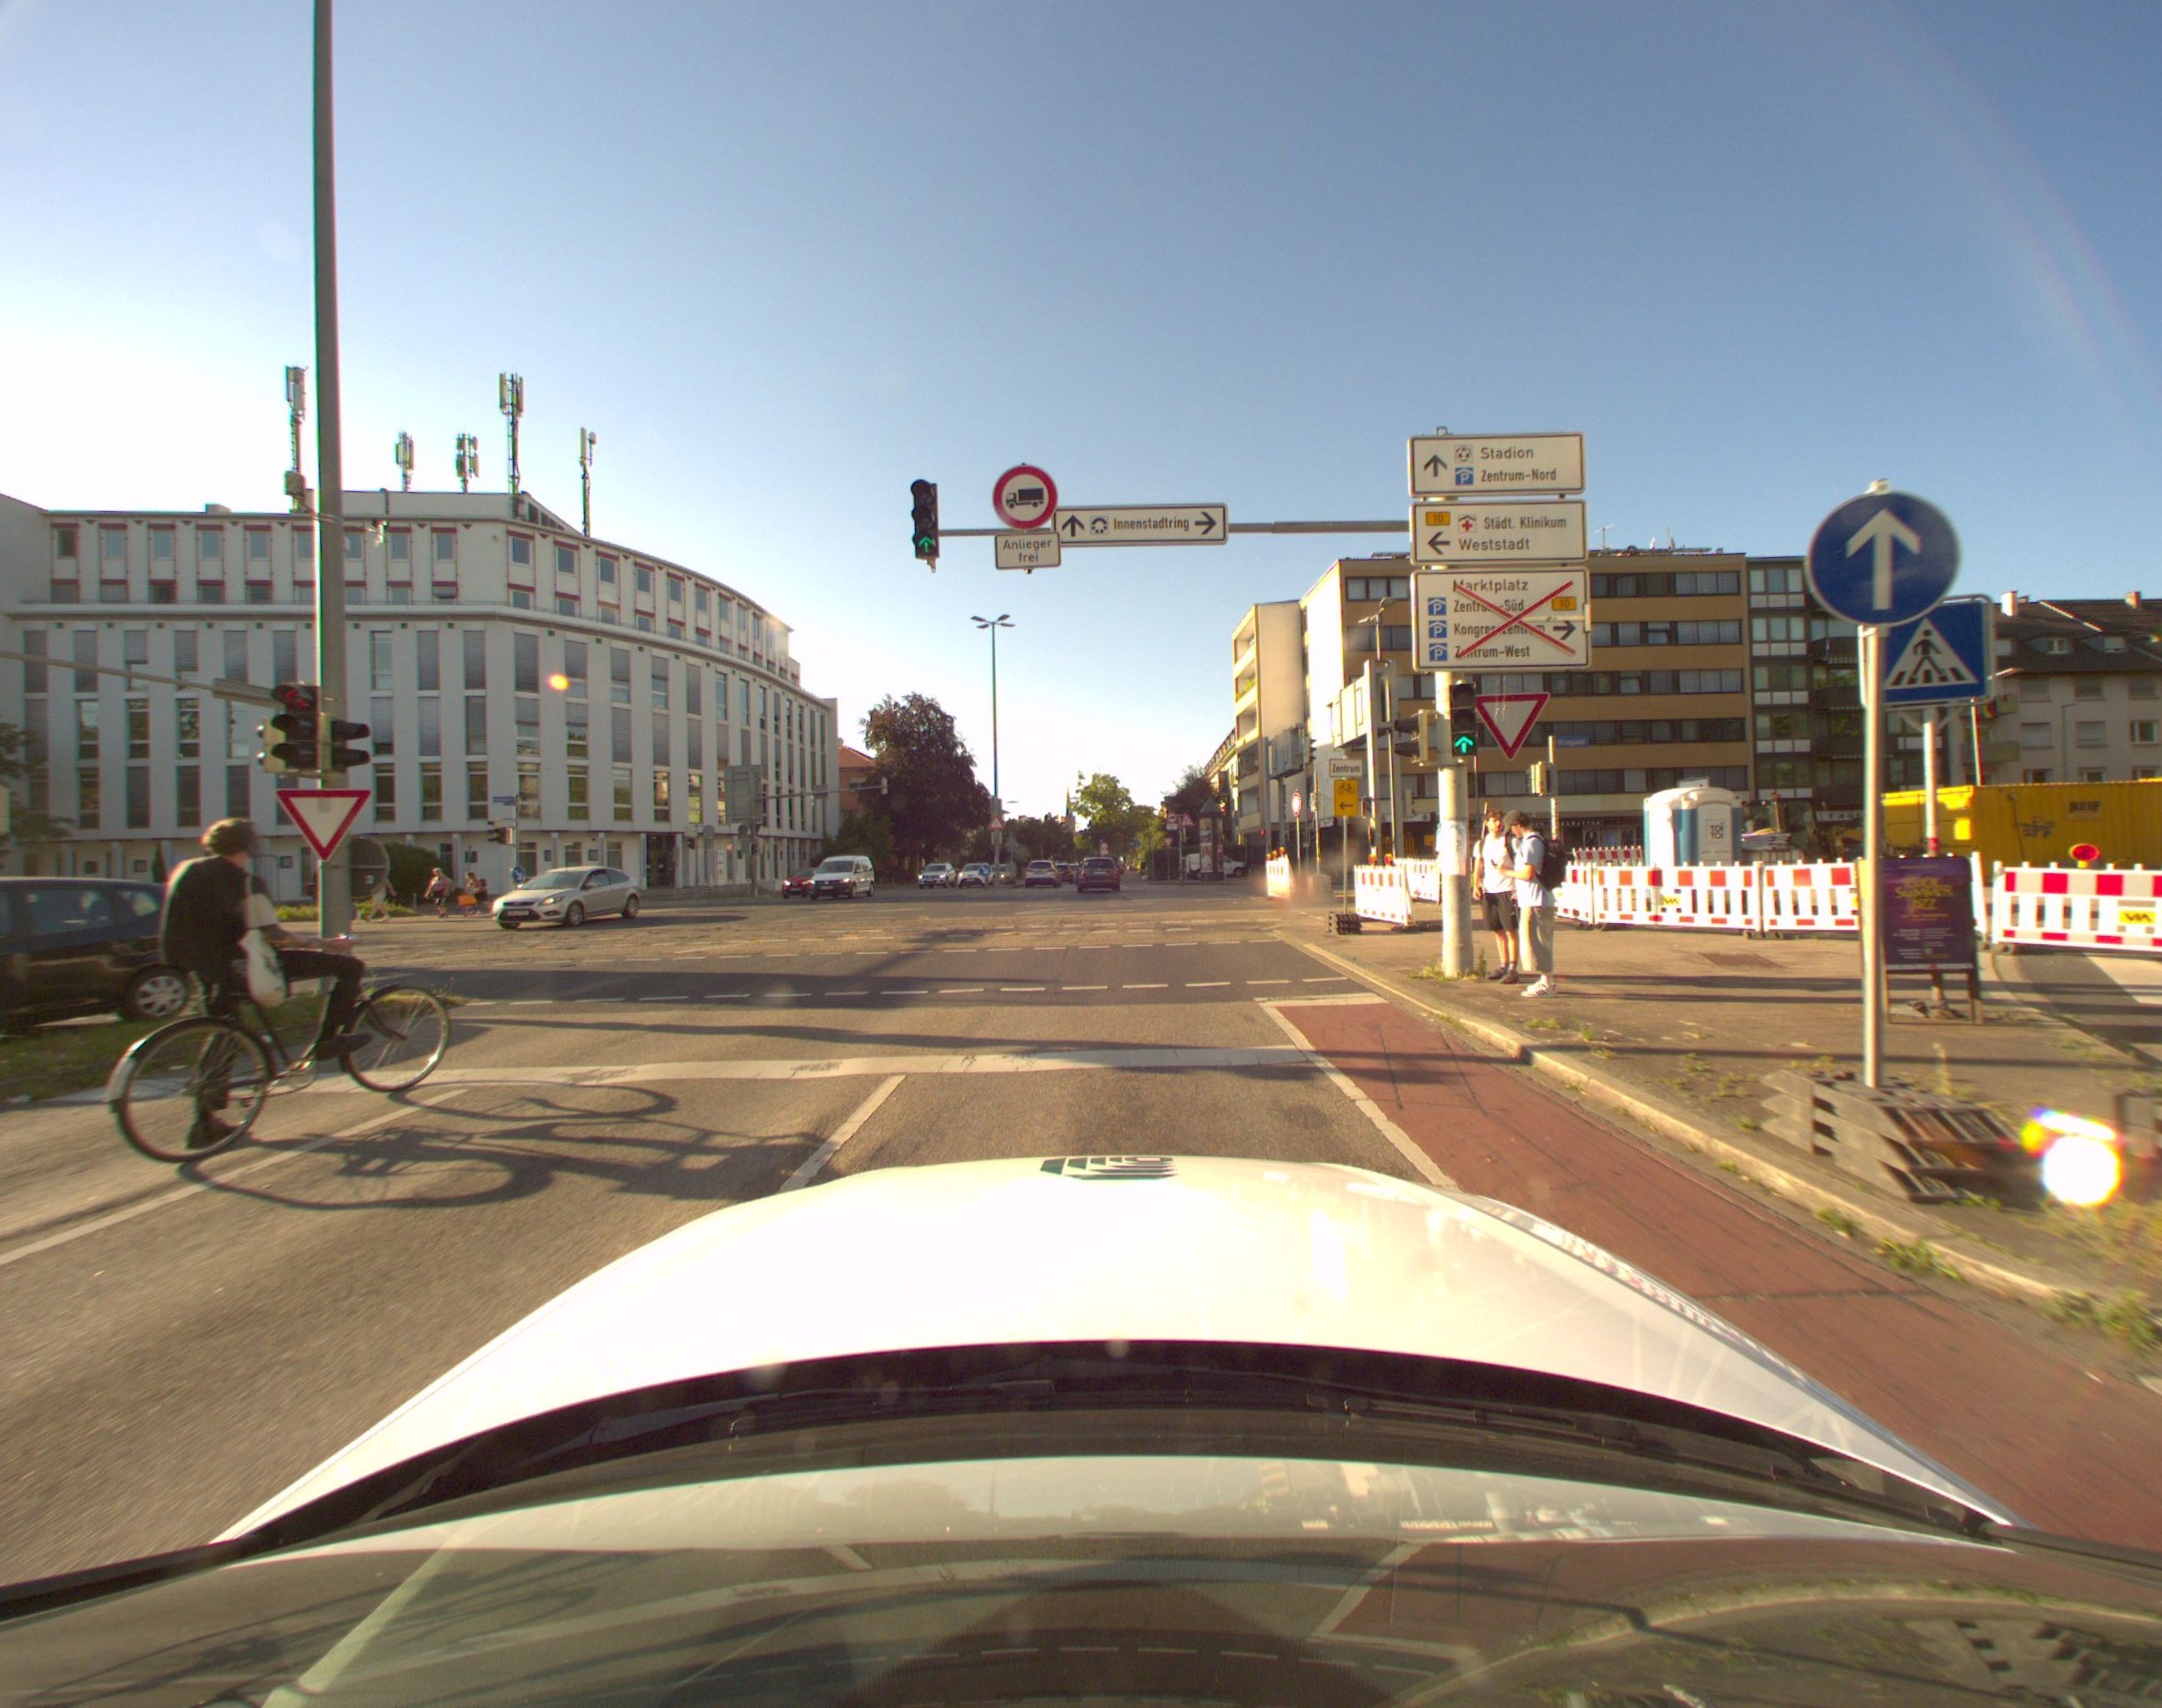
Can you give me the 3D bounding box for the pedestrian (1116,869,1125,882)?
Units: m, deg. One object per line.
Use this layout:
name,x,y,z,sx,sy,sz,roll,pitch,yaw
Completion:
pedestrian,6.258,3.380,128.473,1.205,2.014,1.422,-2,-1,0

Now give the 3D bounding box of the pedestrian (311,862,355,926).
pedestrian,-22.386,1.190,24.375,0.653,1.859,0.783,-2,-1,30

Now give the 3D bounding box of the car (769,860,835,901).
car,-13.383,1.218,39.305,1.743,1.811,4.048,-2,0,-1

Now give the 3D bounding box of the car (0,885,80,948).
car,-28.345,1.663,20.530,3.798,1.530,1.862,-3,-2,-2

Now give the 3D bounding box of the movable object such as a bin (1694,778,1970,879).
movable object such as a bin,20.660,-0.657,22.624,5.334,2.490,2.547,-2,-1,-1

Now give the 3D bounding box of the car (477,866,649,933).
car,-13.415,1.114,21.439,1.652,1.494,4.347,-2,0,1

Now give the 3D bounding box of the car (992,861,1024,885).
car,-4.997,1.282,56.039,1.842,1.461,4.048,-2,0,-1

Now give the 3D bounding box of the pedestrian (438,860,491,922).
pedestrian,-19.317,1.136,25.541,0.620,1.868,1.134,-2,-1,30

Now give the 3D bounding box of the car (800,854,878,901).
car,-10.105,0.944,34.386,1.909,1.811,4.715,-2,0,-1

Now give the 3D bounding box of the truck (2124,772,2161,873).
truck,34.948,-1.018,23.063,7.310,2.898,2.807,-2,0,-1

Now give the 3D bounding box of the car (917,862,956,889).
car,-9.406,1.358,53.304,1.875,1.654,4.048,-2,0,-1

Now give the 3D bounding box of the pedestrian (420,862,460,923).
pedestrian,-20.191,1.214,25.661,0.653,1.868,0.783,-2,-1,30

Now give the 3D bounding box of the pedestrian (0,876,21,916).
pedestrian,-49.278,1.929,37.128,0.913,1.792,0.671,-2,-1,-16

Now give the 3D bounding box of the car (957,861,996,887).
car,-6.344,1.197,49.893,1.842,1.461,4.048,-2,0,-1

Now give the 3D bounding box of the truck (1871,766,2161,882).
truck,27.130,-0.819,22.834,7.312,2.898,2.806,-2,0,-2

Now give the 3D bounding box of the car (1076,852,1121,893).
car,0.784,0.734,34.124,1.741,1.564,4.052,-2,0,2

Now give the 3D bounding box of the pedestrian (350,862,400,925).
pedestrian,-21.303,1.184,24.585,0.753,1.842,0.822,-2,-1,15

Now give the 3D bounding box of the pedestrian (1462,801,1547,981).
pedestrian,4.577,0.385,8.833,0.519,1.868,0.614,-2,-1,-4

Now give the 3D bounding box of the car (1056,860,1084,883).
car,-0.775,1.249,58.740,1.741,1.564,4.052,-2,0,2

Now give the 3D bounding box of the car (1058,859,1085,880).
car,-0.719,1.286,66.603,1.987,1.508,4.000,-3,-2,1

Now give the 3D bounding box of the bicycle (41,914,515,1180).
bicycle,-4.644,1.010,5.042,0.698,1.100,2.257,-2,-1,-1

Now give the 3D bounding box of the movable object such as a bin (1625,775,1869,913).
movable object such as a bin,12.534,-0.180,15.467,3.316,2.383,1.529,-2,-1,1

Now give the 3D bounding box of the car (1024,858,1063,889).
car,-2.012,1.054,45.053,1.741,1.564,4.052,-2,0,2

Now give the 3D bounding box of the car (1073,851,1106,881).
car,0.530,0.705,49.058,1.813,1.640,4.000,-2,0,1

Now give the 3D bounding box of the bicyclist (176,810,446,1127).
bicyclist,-4.650,0.635,5.002,0.689,1.728,0.987,-2,-1,-1

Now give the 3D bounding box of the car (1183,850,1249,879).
car,9.509,0.737,57.583,4.349,1.877,2.000,-2,-1,0

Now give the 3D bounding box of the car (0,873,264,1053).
car,-10.038,0.973,7.142,1.652,1.494,4.000,-2,0,0

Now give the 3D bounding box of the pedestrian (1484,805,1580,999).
pedestrian,4.420,0.451,8.015,0.734,1.799,0.719,-2,-1,27
